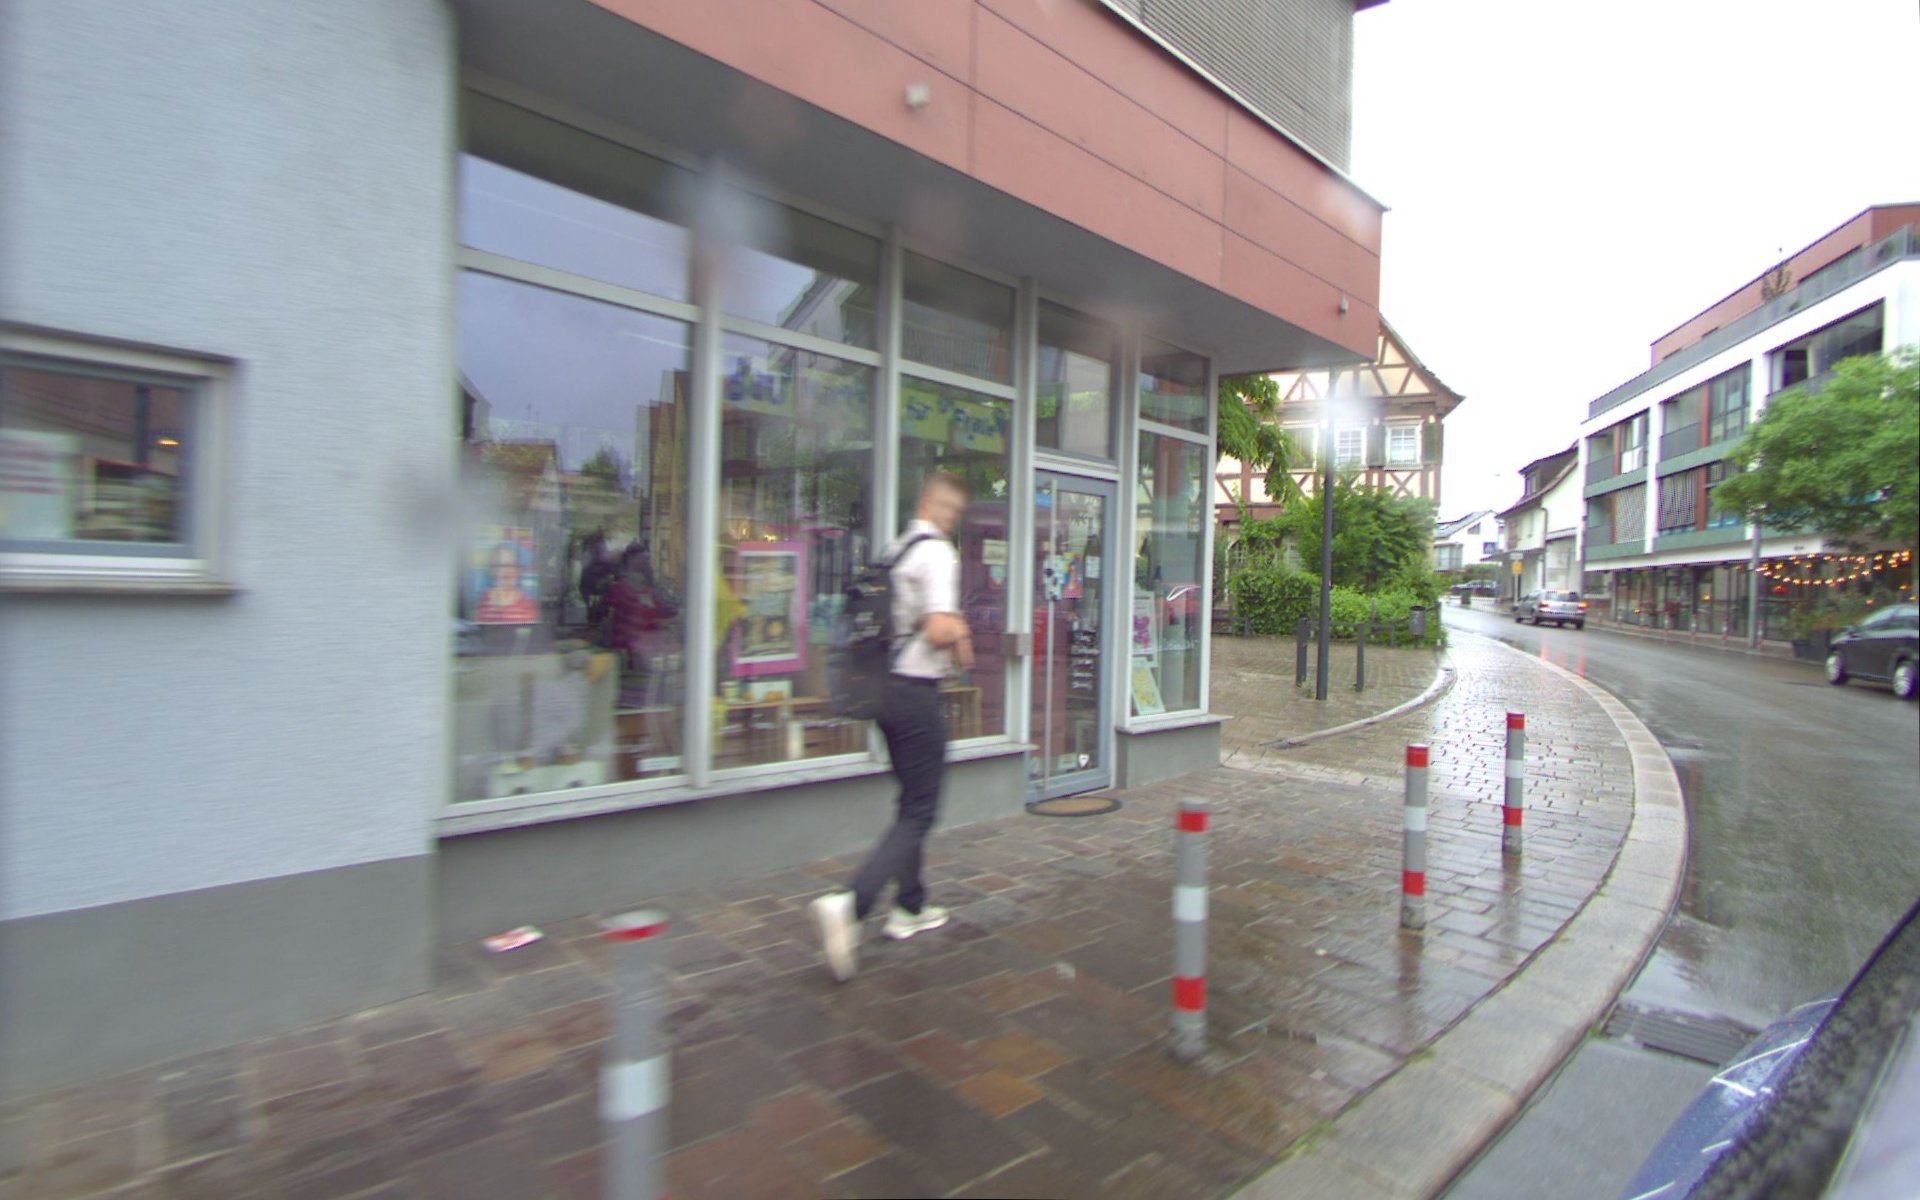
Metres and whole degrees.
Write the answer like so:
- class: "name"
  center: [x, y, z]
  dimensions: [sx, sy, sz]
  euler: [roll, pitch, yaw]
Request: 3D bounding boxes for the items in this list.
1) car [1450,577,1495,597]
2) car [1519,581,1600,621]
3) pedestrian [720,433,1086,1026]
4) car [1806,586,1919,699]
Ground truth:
- class: "car"
  center: [51.859, -1.342, 102.399]
  dimensions: [3.968, 2.039, 1.978]
  euler: [0, 1, 31]
- class: "car"
  center: [22.871, -0.001, 38.724]
  dimensions: [1.754, 1.430, 3.716]
  euler: [0, 1, 16]
- class: "pedestrian"
  center: [-0.195, 0.389, 3.815]
  dimensions: [0.820, 1.828, 1.128]
  euler: [0, 1, 45]
- class: "car"
  center: [15.301, 0.619, 15.871]
  dimensions: [1.765, 1.483, 4.483]
  euler: [2, 3, 22]
